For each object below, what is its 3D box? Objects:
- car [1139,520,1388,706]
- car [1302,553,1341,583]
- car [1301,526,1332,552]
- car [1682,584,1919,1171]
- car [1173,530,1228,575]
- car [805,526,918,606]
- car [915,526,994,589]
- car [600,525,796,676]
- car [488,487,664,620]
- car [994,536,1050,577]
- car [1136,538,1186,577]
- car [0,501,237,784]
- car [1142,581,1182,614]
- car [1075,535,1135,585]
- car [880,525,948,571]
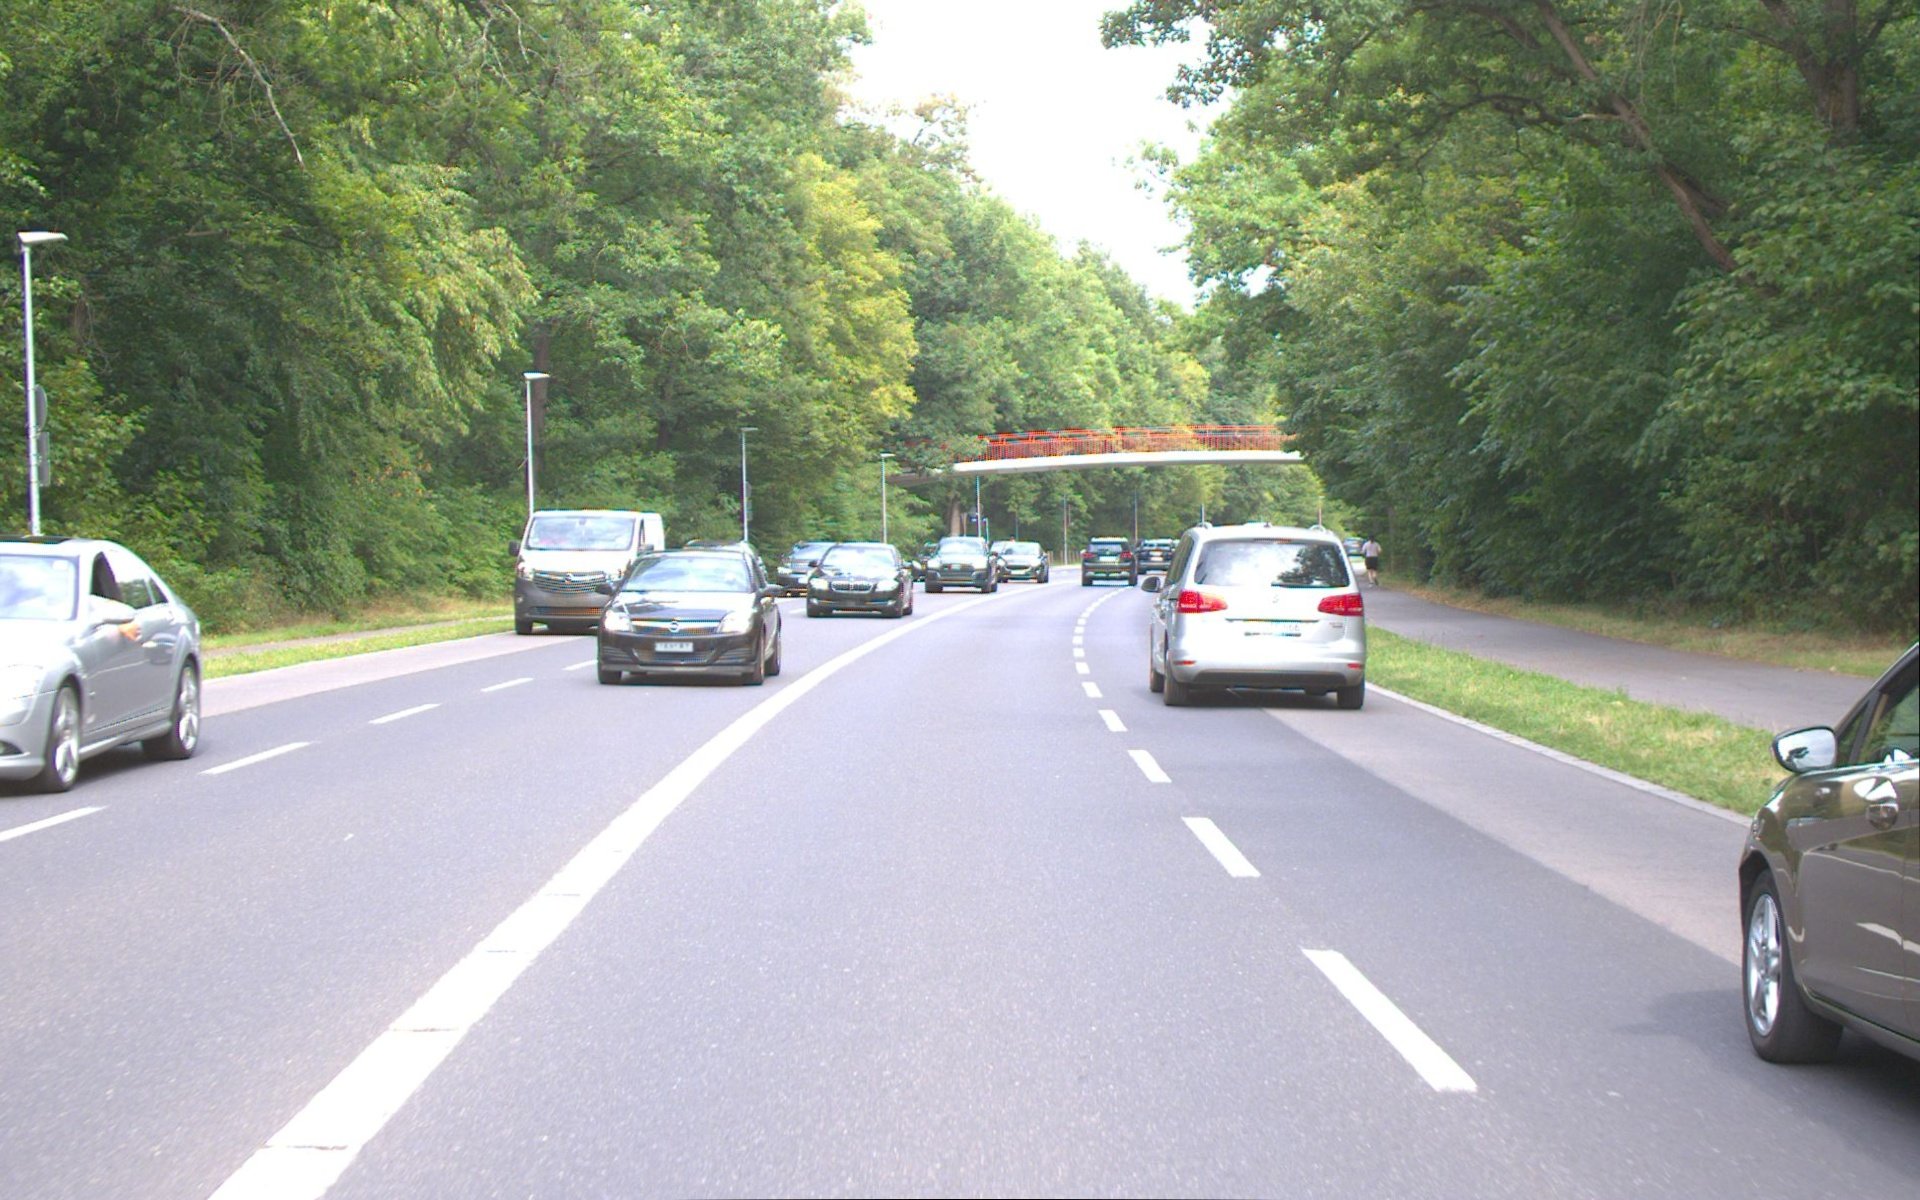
[{"bbox_3d":[2.832,0.108,32.885,1.993,1.601,4.000,2,0,0],"label":"car"},{"bbox_3d":[20.636,-1.830,196.301,1.803,1.662,4.000,2,0,1],"label":"car"},{"bbox_3d":[23.921,-4.120,230.521,1.994,1.700,3.999,-1,1,7],"label":"car"},{"bbox_3d":[3.146,0.693,8.859,1.635,1.415,4.000,2,0,-1],"label":"car"},{"bbox_3d":[10.052,-1.966,143.562,1.994,1.744,3.999,2,0,7],"label":"car"},{"bbox_3d":[-1.909,-0.651,68.115,1.885,1.473,4.518,2,0,2],"label":"car"},{"bbox_3d":[-0.133,-1.232,100.000,1.963,1.700,3.999,-2,0,4],"label":"car"},{"bbox_3d":[-2.763,-0.002,36.952,1.656,1.481,3.866,2,0,2],"label":"car"},{"bbox_3d":[-6.024,-0.710,54.512,1.994,2.007,5.053,0,0,3],"label":"car"},{"bbox_3d":[2.223,-1.555,123.191,1.698,1.381,3.826,-2,0,5],"label":"car"},{"bbox_3d":[9.146,-1.923,156.395,1.994,1.691,3.999,2,0,6],"label":"car"},{"bbox_3d":[-6.048,0.194,21.320,1.993,1.557,4.604,2,0,2],"label":"car"},{"bbox_3d":[10.184,-0.121,173.419,1.818,1.561,4.000,2,0,2],"label":"car"},{"bbox_3d":[4.919,-1.347,116.387,1.730,1.582,3.999,2,0,6],"label":"car"},{"bbox_3d":[-1.643,-1.866,124.208,1.994,1.547,3.999,2,0,5],"label":"car"}]
